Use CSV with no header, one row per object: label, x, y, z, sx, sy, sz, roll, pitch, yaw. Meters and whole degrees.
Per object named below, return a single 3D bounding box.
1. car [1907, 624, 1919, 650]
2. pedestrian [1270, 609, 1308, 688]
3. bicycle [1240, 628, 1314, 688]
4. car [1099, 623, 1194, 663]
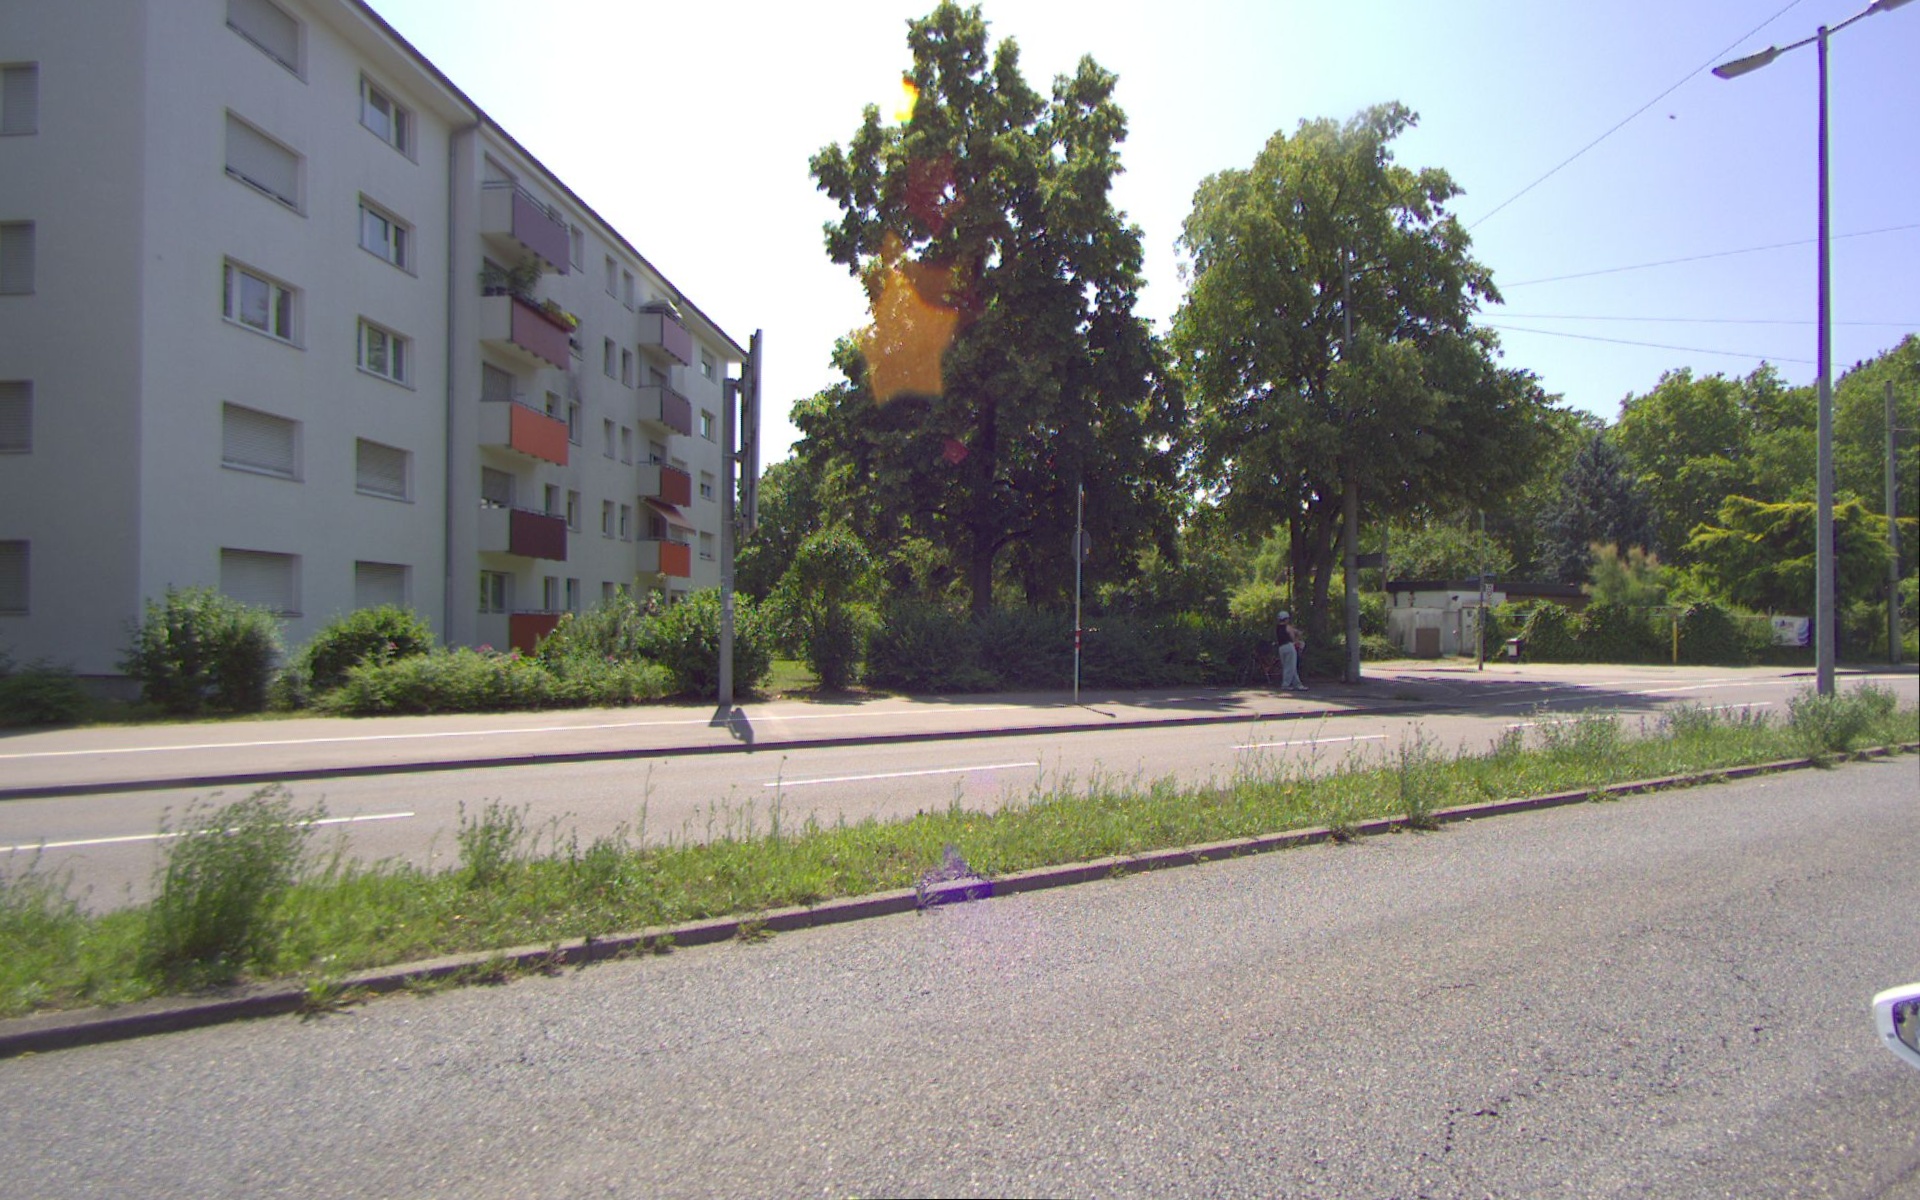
car,61.757,2.304,62.346,1.743,1.600,3.986,0,-1,-17
pedestrian,7.367,1.073,22.488,0.593,1.741,0.549,0,-1,-15
bicycle,7.284,1.311,23.090,1.547,1.345,0.646,0,-1,-16
car,8.022,1.805,43.446,1.976,1.634,3.969,1,-2,-30
